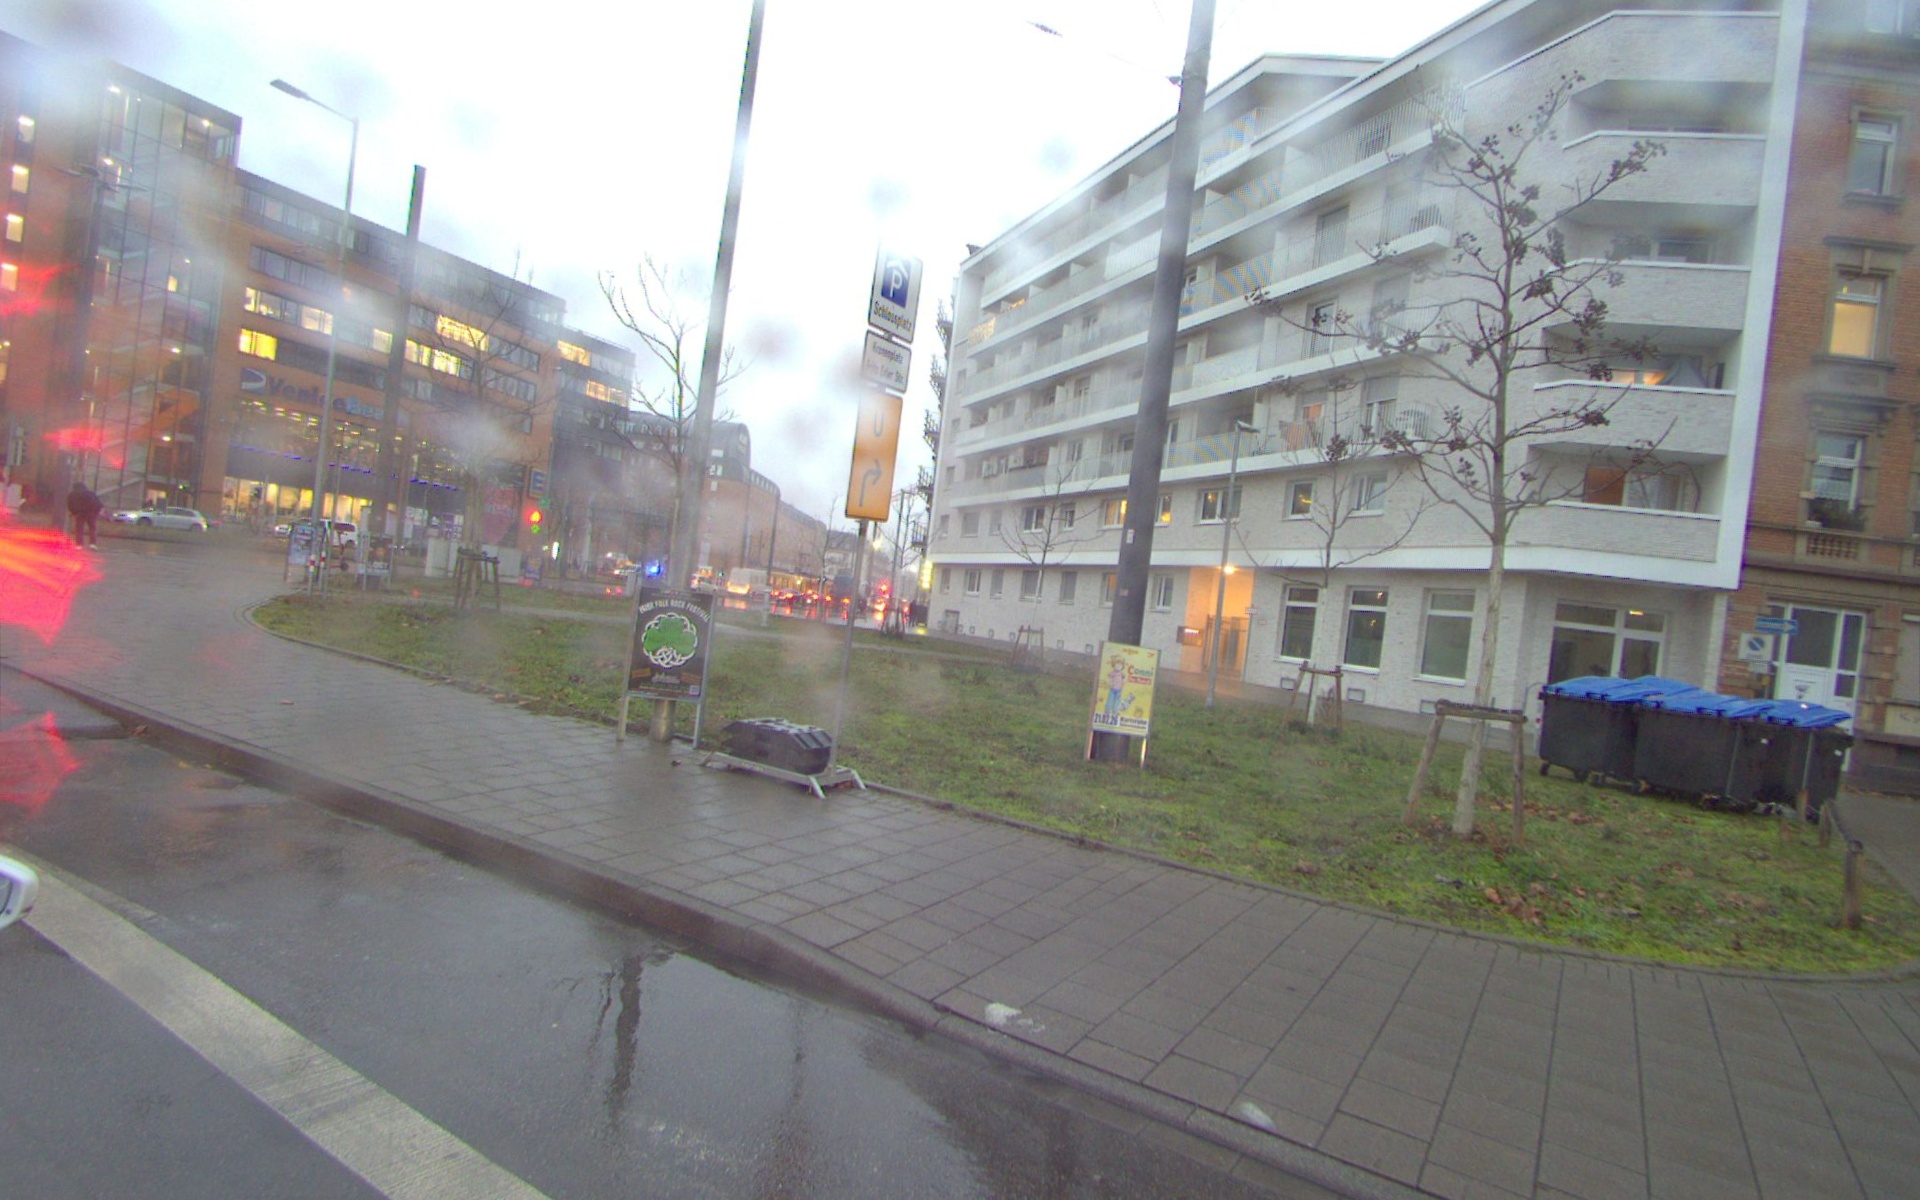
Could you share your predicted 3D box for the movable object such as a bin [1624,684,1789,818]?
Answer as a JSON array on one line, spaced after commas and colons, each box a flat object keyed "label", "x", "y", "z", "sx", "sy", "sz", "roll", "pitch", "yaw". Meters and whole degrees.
[{"label": "movable object such as a bin", "x": 9.605, "y": 1.925, "z": 12.987, "sx": 1.038, "sy": 1.450, "sz": 1.220, "roll": 7, "pitch": 0, "yaw": -19}]

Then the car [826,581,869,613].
[{"label": "car", "x": -12.001, "y": -0.310, "z": 107.767, "sx": 2.317, "sy": 2.860, "sz": 6.364, "roll": 7, "pitch": -1, "yaw": 12}]

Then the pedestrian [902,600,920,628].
[{"label": "pedestrian", "x": -2.981, "y": 0.857, "z": 61.419, "sx": 0.626, "sy": 1.652, "sz": 0.716, "roll": 7, "pitch": 1, "yaw": -31}]

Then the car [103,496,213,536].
[{"label": "car", "x": -44.862, "y": -4.685, "z": 56.384, "sx": 1.833, "sy": 1.504, "sz": 4.338, "roll": 7, "pitch": -1, "yaw": 25}]

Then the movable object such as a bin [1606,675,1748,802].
[{"label": "movable object such as a bin", "x": 10.345, "y": 1.980, "z": 14.546, "sx": 1.038, "sy": 1.595, "sz": 1.135, "roll": 7, "pitch": 0, "yaw": -19}]

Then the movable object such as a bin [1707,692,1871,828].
[{"label": "movable object such as a bin", "x": 10.733, "y": 2.052, "z": 13.061, "sx": 1.038, "sy": 1.503, "sz": 1.135, "roll": 7, "pitch": 0, "yaw": -19}]

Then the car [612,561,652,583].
[{"label": "car", "x": -32.338, "y": -2.728, "z": 99.297, "sx": 1.893, "sy": 1.740, "sz": 4.612, "roll": 7, "pitch": -1, "yaw": 5}]

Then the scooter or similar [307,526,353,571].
[{"label": "scooter or similar", "x": -18.674, "y": -1.513, "z": 29.834, "sx": 0.327, "sy": 1.221, "sz": 1.309, "roll": 7, "pitch": 0, "yaw": 4}]

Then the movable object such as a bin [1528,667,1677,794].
[{"label": "movable object such as a bin", "x": 9.034, "y": 1.818, "z": 14.193, "sx": 1.038, "sy": 1.529, "sz": 1.247, "roll": 7, "pitch": 0, "yaw": -19}]

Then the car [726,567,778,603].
[{"label": "car", "x": -17.426, "y": -1.226, "z": 84.635, "sx": 1.962, "sy": 2.456, "sz": 5.978, "roll": 7, "pitch": -1, "yaw": 10}]

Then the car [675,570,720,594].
[{"label": "car", "x": -19.833, "y": -1.344, "z": 76.220, "sx": 1.613, "sy": 1.514, "sz": 3.686, "roll": 7, "pitch": 0, "yaw": 14}]

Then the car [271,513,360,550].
[{"label": "car", "x": -41.509, "y": -4.388, "z": 64.898, "sx": 1.753, "sy": 1.698, "sz": 4.653, "roll": 7, "pitch": -1, "yaw": 19}]

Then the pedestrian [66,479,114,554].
[{"label": "pedestrian", "x": -23.324, "y": -2.232, "z": 26.992, "sx": 0.768, "sy": 1.901, "sz": 0.629, "roll": 6, "pitch": 1, "yaw": -36}]

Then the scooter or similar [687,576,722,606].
[{"label": "scooter or similar", "x": -12.356, "y": -0.445, "z": 48.726, "sx": 0.658, "sy": 1.241, "sz": 1.556, "roll": 7, "pitch": -2, "yaw": 26}]

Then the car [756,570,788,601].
[{"label": "car", "x": -19.865, "y": -1.465, "z": 106.637, "sx": 2.321, "sy": 2.861, "sz": 6.355, "roll": 7, "pitch": -1, "yaw": -5}]

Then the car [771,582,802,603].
[{"label": "car", "x": -15.748, "y": -0.649, "z": 91.323, "sx": 1.494, "sy": 1.538, "sz": 3.474, "roll": 7, "pitch": -1, "yaw": 11}]
